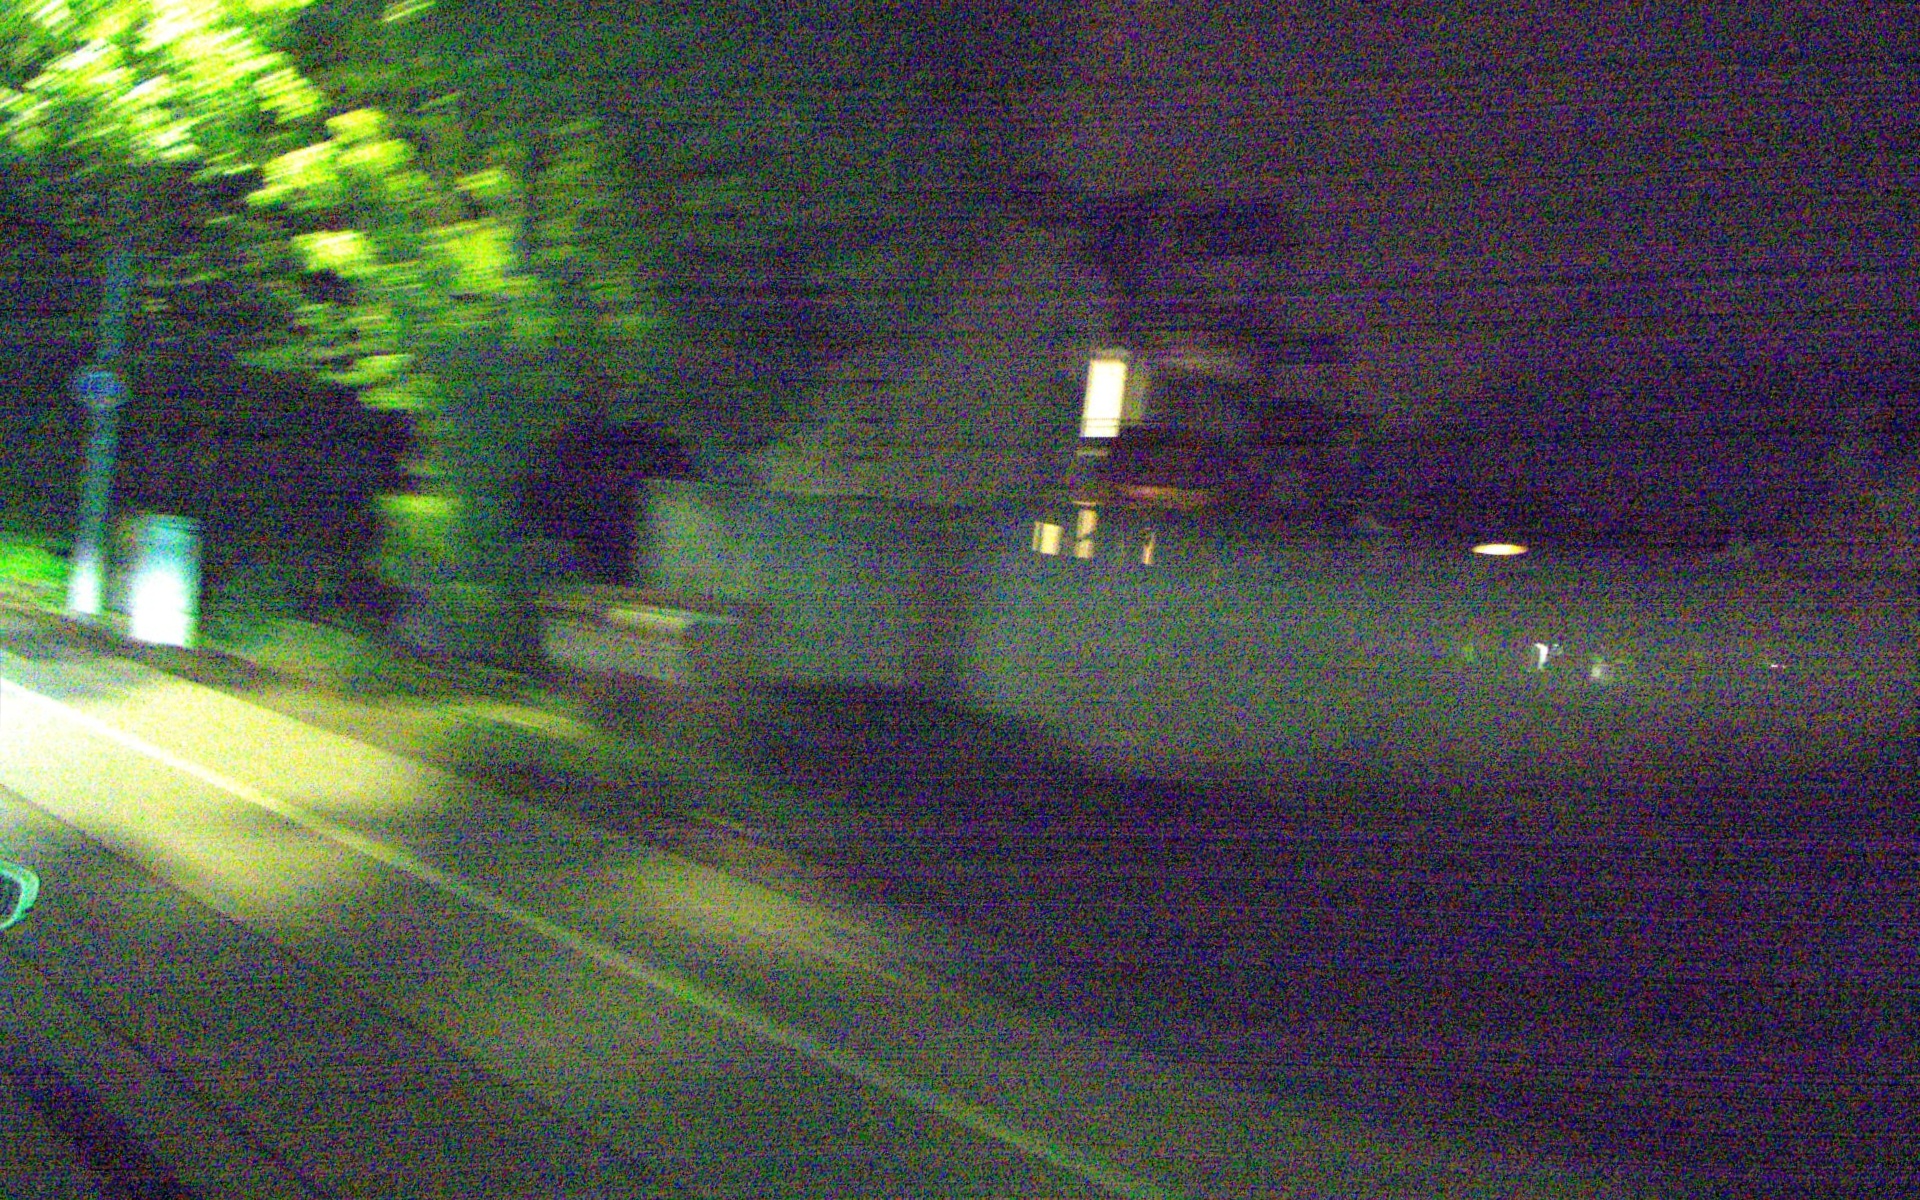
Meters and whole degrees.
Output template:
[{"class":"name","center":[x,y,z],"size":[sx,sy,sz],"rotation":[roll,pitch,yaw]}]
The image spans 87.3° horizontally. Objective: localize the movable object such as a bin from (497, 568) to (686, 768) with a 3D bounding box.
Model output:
[{"class":"movable object such as a bin","center":[-2.404,0.424,6.553],"size":[0.880,1.135,0.722],"rotation":[7,1,40]}]

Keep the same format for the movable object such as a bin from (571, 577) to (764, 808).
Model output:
[{"class":"movable object such as a bin","center":[-1.742,0.529,6.001],"size":[0.709,1.216,0.723],"rotation":[7,1,40]}]
